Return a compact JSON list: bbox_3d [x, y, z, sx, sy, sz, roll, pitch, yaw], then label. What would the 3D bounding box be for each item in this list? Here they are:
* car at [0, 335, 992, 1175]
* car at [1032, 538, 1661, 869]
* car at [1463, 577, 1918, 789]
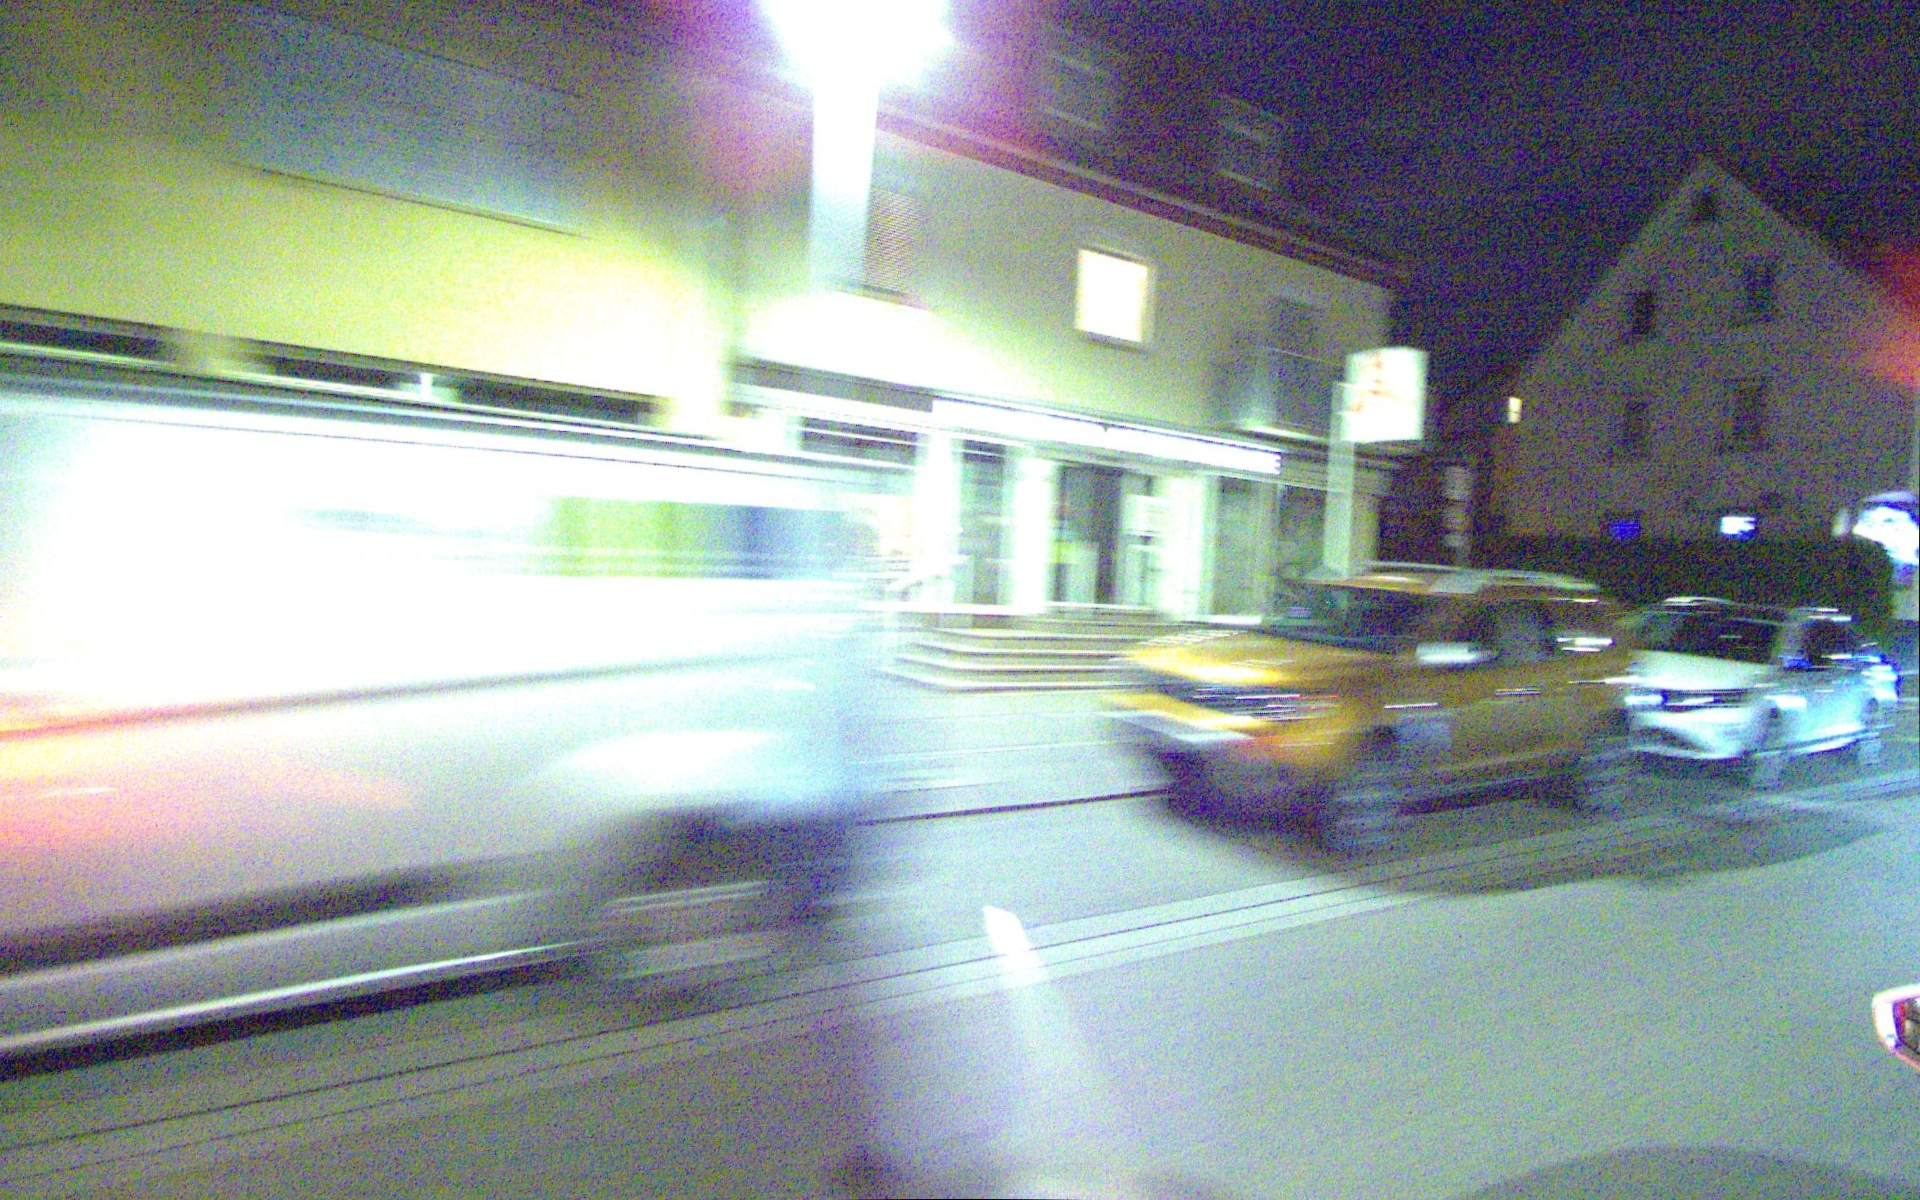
[{"bbox_3d":[-2.500,0.322,3.415,4.835,1.973,2.103,1,3,-33],"label":"car"},{"bbox_3d":[2.812,0.516,7.154,4.124,1.693,2.103,1,3,-33],"label":"car"},{"bbox_3d":[7.244,0.663,9.875,4.428,1.569,2.103,1,3,-33],"label":"car"}]
